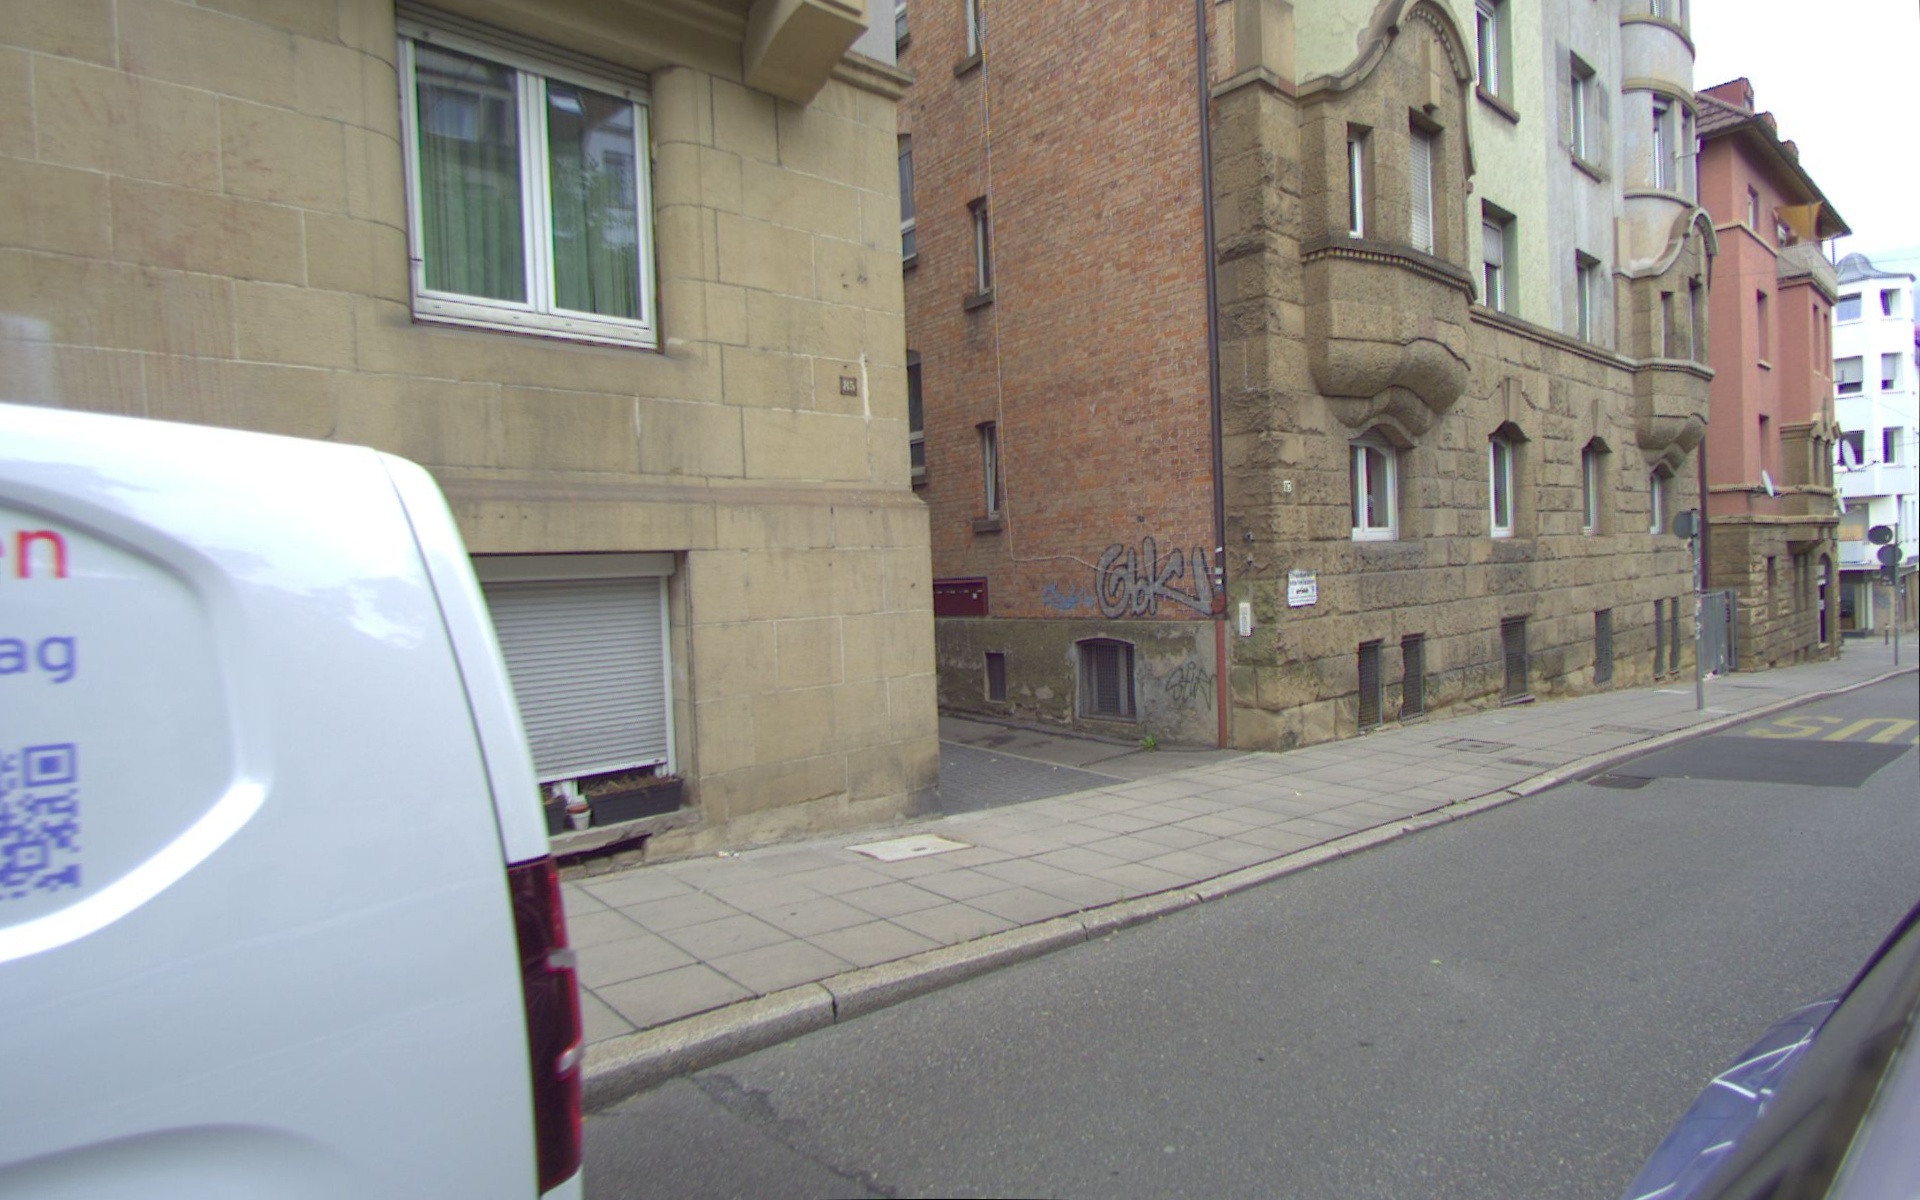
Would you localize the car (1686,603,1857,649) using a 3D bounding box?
[{"bbox_3d":[32.561,1.074,40.704,5.125,1.570,2.203,-4,-2,44],"label":"car"}]

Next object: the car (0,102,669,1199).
[{"bbox_3d":[-2.830,0.603,0.353,4.929,1.848,1.854,-2,-1,-37],"label":"car"}]
